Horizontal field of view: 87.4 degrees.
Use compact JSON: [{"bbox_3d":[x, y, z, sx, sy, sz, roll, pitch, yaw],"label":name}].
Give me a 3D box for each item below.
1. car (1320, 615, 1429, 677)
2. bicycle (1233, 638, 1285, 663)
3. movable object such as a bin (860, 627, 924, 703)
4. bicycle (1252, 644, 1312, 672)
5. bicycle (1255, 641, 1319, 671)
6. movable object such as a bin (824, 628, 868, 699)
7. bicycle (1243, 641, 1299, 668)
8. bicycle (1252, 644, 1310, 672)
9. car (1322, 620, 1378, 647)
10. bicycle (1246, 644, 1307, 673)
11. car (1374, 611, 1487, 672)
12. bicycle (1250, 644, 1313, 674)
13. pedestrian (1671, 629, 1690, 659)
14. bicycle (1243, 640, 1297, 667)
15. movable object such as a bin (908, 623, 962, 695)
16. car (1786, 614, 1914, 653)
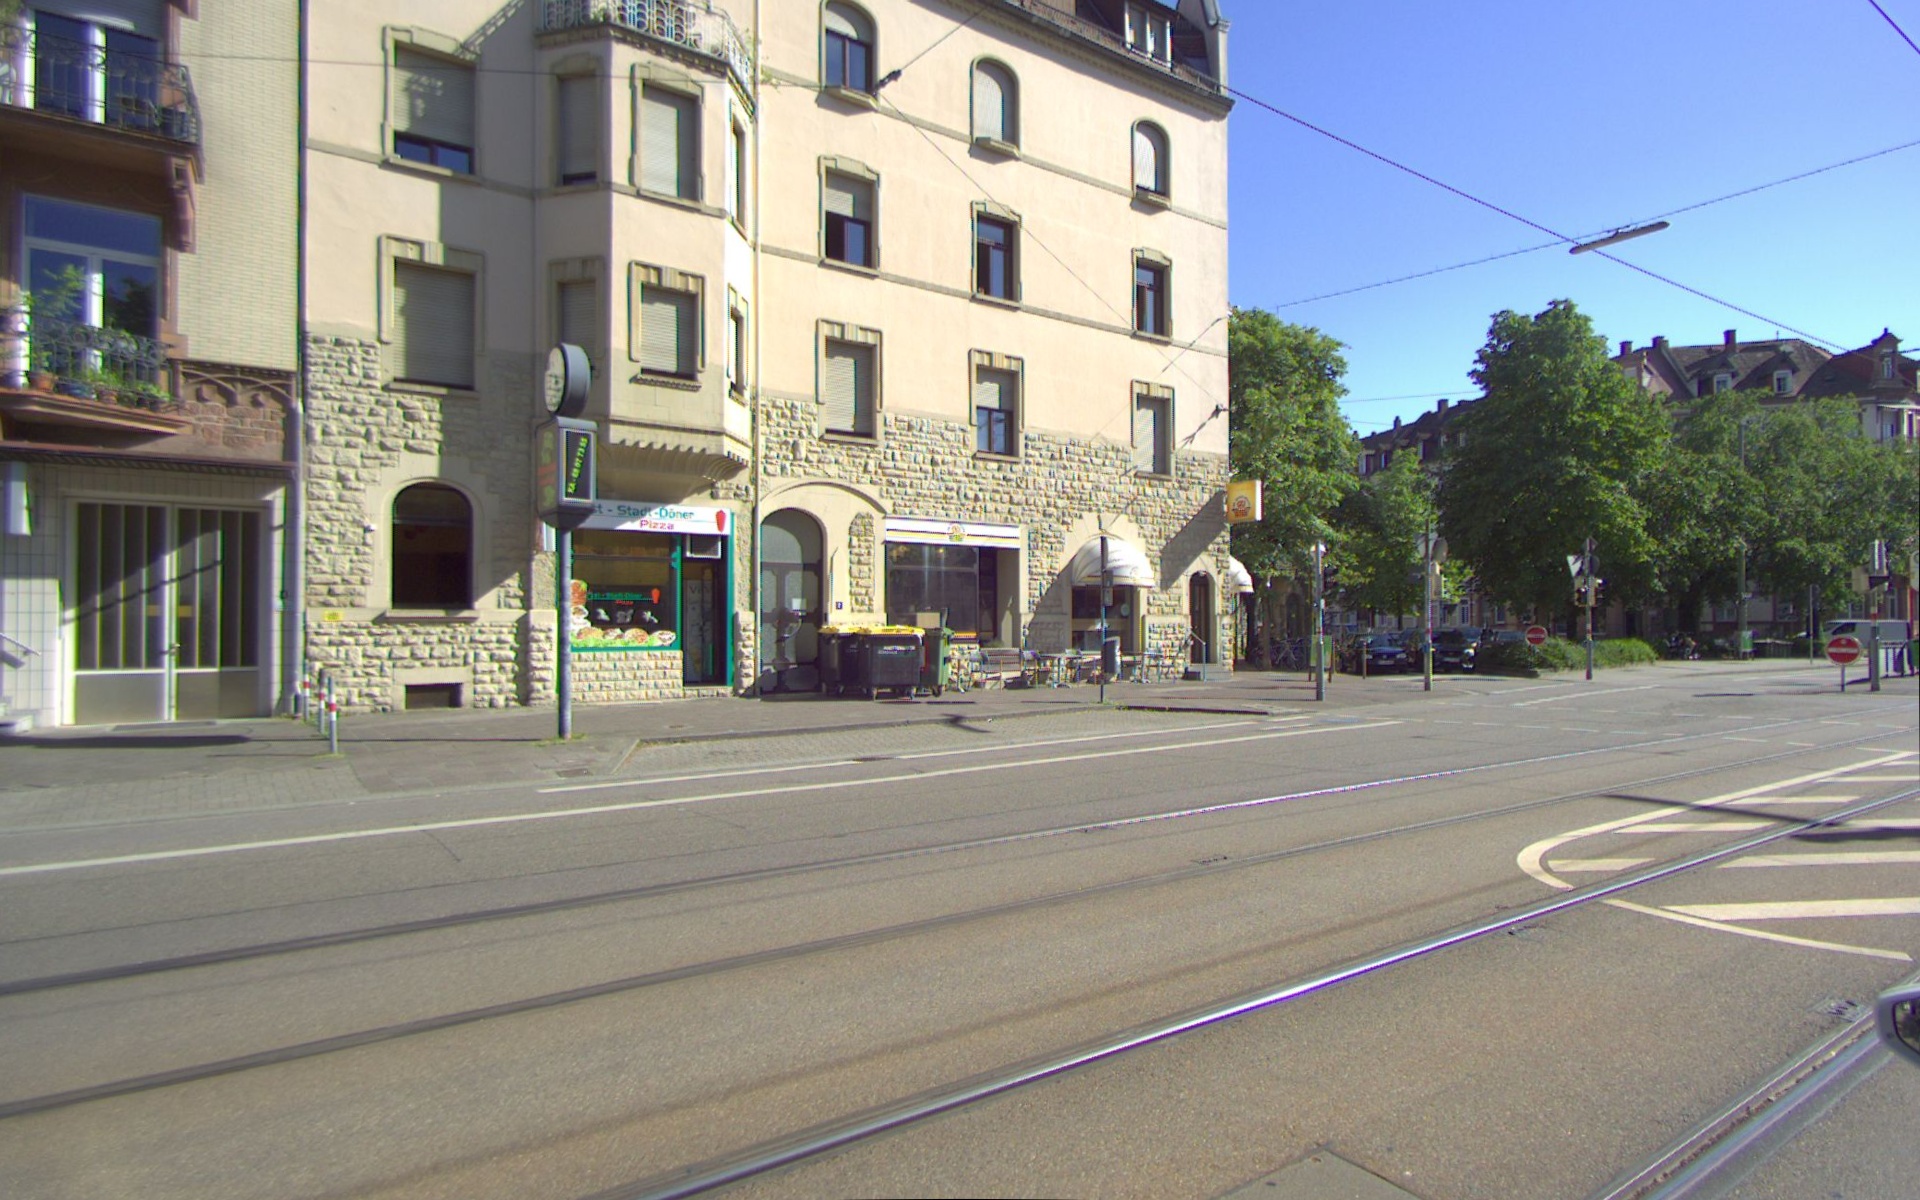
[{"bbox_3d":[14.432,1.566,35.228,1.961,2.040,3.999,1,-1,-3],"label":"car"},{"bbox_3d":[12.507,2.119,42.089,1.997,0.993,0.611,1,-1,5],"label":"bicycle"},{"bbox_3d":[-1.305,1.233,19.309,1.012,1.399,0.853,1,-1,-21],"label":"movable object such as a bin"},{"bbox_3d":[11.800,2.123,36.848,1.997,0.993,0.611,1,-1,5],"label":"bicycle"},{"bbox_3d":[11.232,1.924,34.509,1.997,0.993,0.611,1,-1,5],"label":"bicycle"},{"bbox_3d":[-2.214,1.217,19.491,0.647,1.343,0.853,1,-1,-21],"label":"movable object such as a bin"},{"bbox_3d":[11.965,2.092,38.683,1.997,0.993,0.611,1,-1,5],"label":"bicycle"},{"bbox_3d":[12.028,2.154,37.682,1.997,0.993,0.611,1,-1,5],"label":"bicycle"},{"bbox_3d":[31.094,2.632,80.230,1.965,2.040,4.579,1,-1,-12],"label":"car"},{"bbox_3d":[11.362,2.103,36.086,1.997,0.993,0.611,1,-1,5],"label":"bicycle"},{"bbox_3d":[16.656,1.436,35.768,1.961,2.040,3.999,1,-1,-3],"label":"car"},{"bbox_3d":[11.288,2.052,35.303,1.997,0.993,0.611,1,-1,5],"label":"bicycle"},{"bbox_3d":[30.366,1.858,42.347,0.571,1.217,0.605,-2,-3,40],"label":"pedestrian"},{"bbox_3d":[12.361,2.128,40.086,1.997,0.993,0.611,1,-1,5],"label":"bicycle"},{"bbox_3d":[-0.499,1.172,20.273,0.840,1.399,1.028,1,-1,13],"label":"movable object such as a bin"},{"bbox_3d":[49.282,1.853,55.739,4.928,2.040,2.001,1,-1,16],"label":"car"}]
